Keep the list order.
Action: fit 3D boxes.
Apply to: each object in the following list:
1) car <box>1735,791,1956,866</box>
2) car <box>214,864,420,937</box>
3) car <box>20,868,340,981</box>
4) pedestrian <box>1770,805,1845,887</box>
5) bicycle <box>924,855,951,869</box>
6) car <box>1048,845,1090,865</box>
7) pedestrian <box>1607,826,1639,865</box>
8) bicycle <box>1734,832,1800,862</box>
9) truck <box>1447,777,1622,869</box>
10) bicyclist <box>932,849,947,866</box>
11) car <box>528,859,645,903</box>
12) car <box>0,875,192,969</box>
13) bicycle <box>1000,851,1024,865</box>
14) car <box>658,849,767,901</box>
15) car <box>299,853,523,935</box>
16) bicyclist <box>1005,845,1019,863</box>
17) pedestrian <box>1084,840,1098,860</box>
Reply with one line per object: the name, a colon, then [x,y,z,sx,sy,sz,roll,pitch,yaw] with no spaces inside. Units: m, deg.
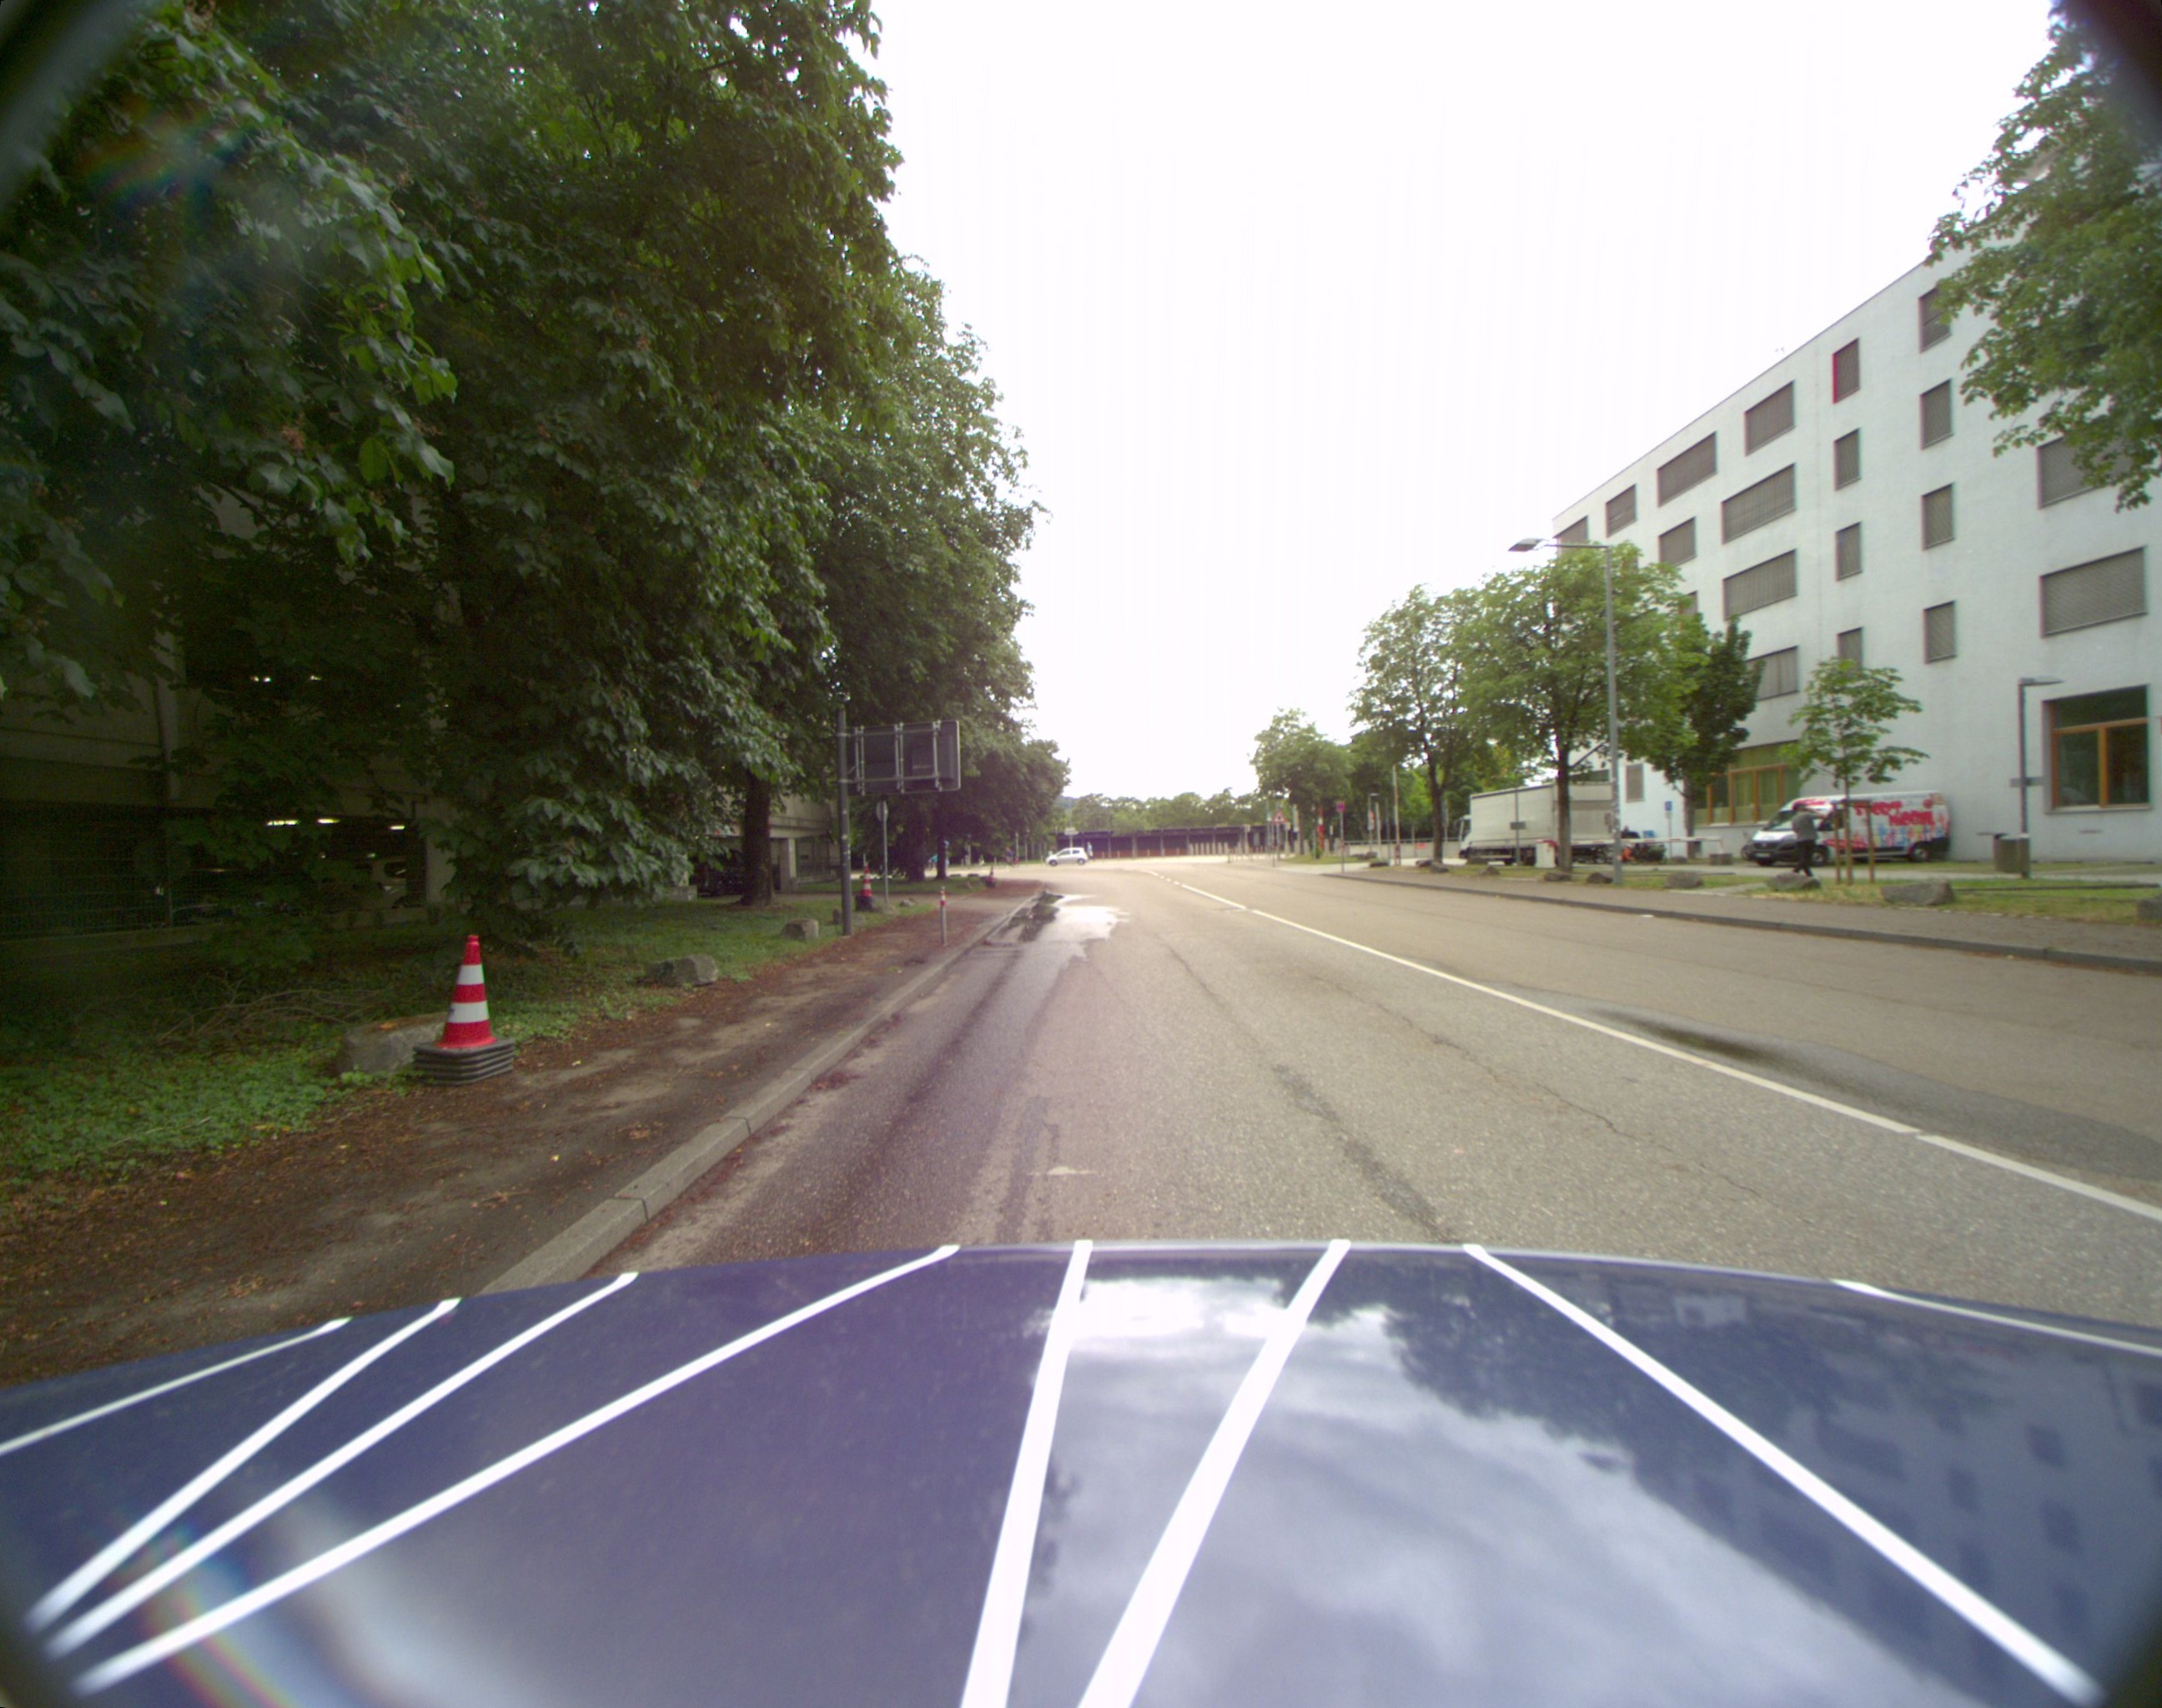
car: [26.599,-0.885,26.569,5.640,2.266,2.078,-3,2,0]
car: [-20.270,1.161,20.415,1.721,1.577,3.690,-3,2,-1]
car: [-17.480,1.257,15.088,1.589,1.699,3.856,-3,2,1]
pedestrian: [15.411,-0.180,16.134,0.845,1.662,0.786,-3,2,-4]
bicycle: [-12.862,0.754,68.175,2.257,1.117,0.748,-3,2,-3]
car: [-1.001,0.098,65.063,3.500,1.448,1.607,-3,2,2]
pedestrian: [23.153,-0.368,32.457,0.679,1.597,0.887,-3,2,-7]
bicycle: [27.614,-0.281,30.588,2.029,1.064,0.613,-3,2,4]
truck: [20.382,-1.364,34.924,2.684,3.580,8.361,-3,2,-2]
bicyclist: [-12.707,0.276,68.163,1.159,1.422,0.742,-3,2,-3]
car: [-20.013,1.063,30.988,1.876,1.445,4.000,-3,2,4]
car: [-20.378,1.314,14.770,1.721,1.537,3.700,-3,2,-1]
bicycle: [-6.149,0.361,68.156,2.050,1.137,0.777,-3,3,-1]
car: [-14.661,0.747,30.575,1.924,1.824,4.735,-3,1,0]
car: [-17.254,0.925,19.954,1.589,1.699,4.666,-3,2,1]
bicyclist: [-6.172,0.014,68.142,1.101,1.487,0.927,-3,3,-1]
pedestrian: [0.930,-0.374,72.820,1.200,1.824,0.927,-3,3,4]
